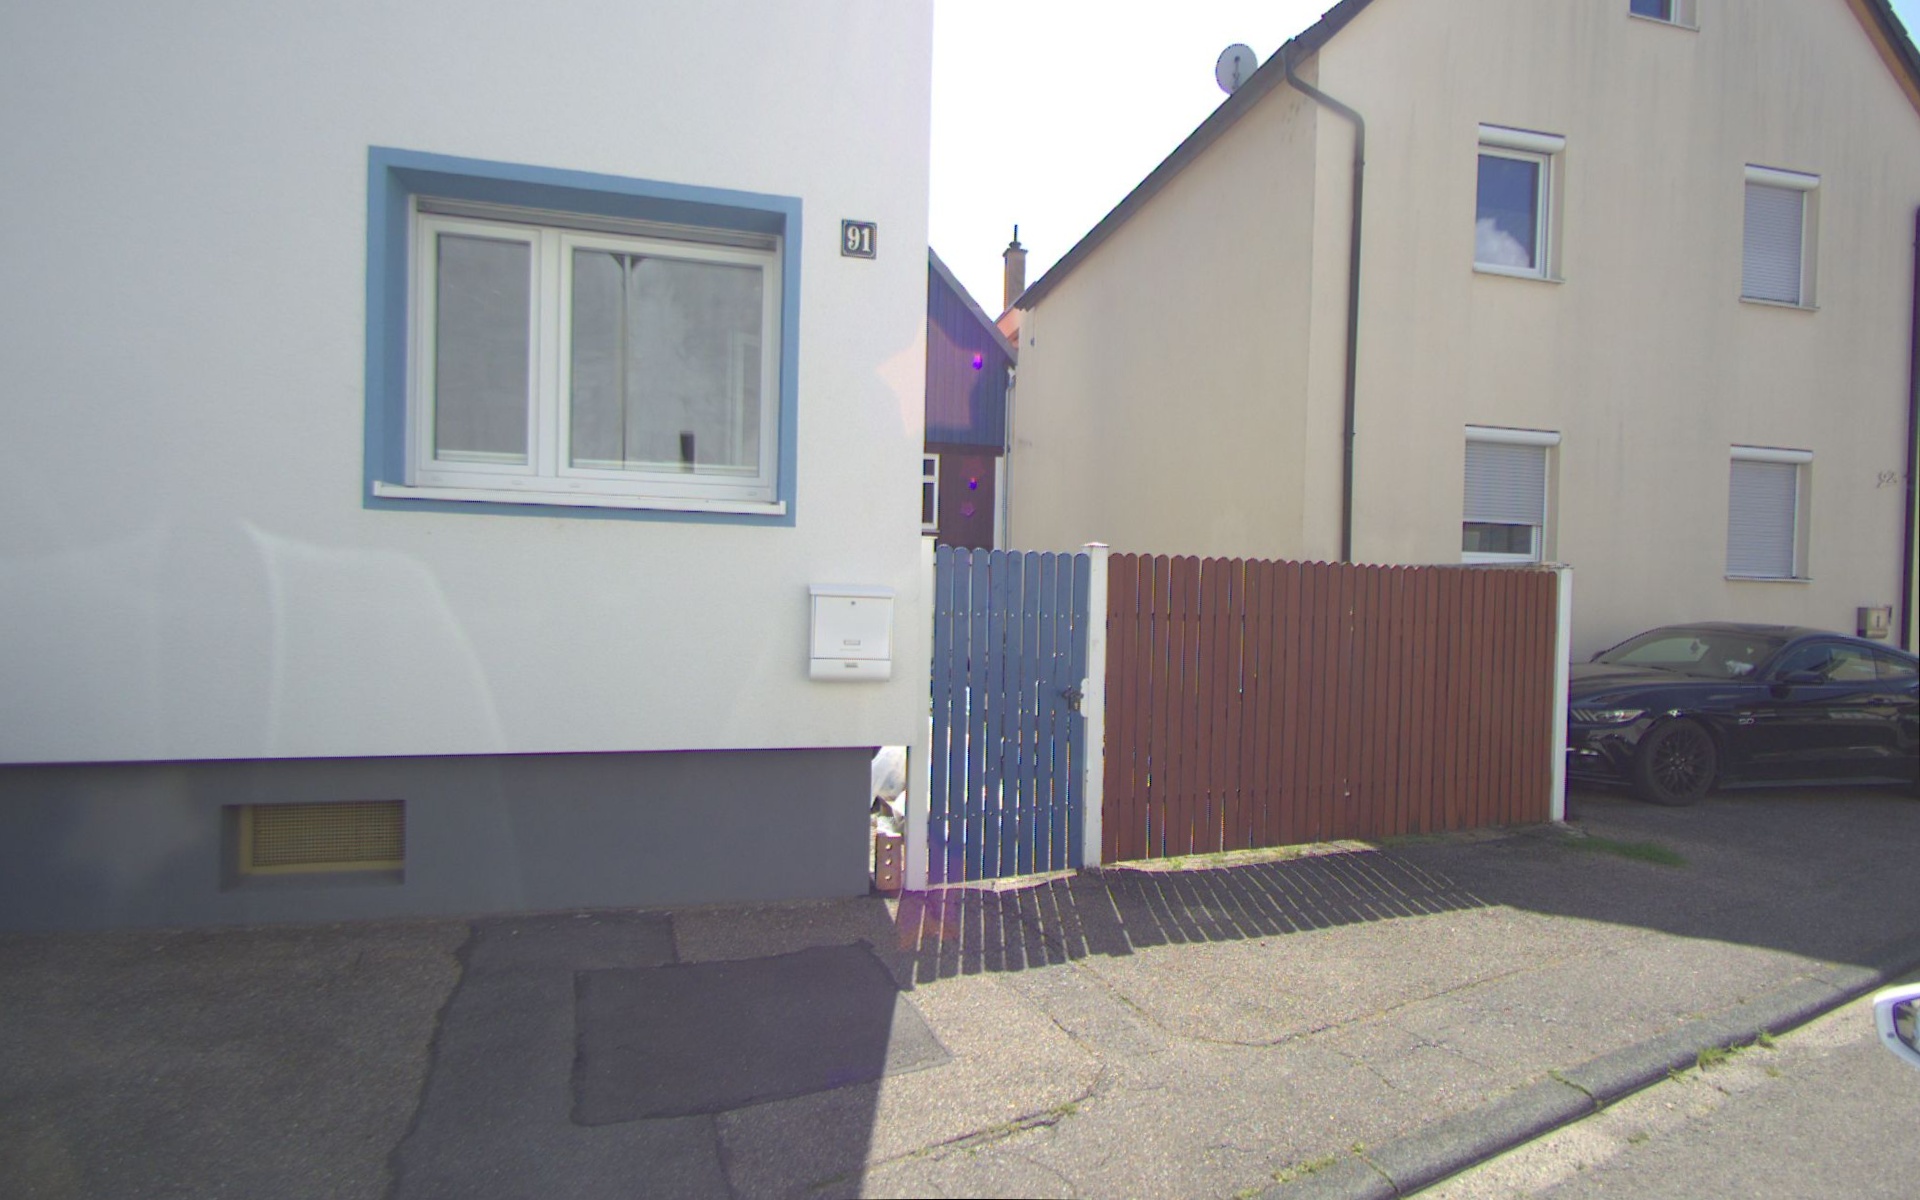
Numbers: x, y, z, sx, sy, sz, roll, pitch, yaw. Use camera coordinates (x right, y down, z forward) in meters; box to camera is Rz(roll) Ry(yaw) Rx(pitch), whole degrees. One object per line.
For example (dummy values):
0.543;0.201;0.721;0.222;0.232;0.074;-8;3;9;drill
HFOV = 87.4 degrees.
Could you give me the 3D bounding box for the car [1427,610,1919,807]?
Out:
6.505;0.870;8.531;4.391;1.367;1.771;2;1;-12;car
